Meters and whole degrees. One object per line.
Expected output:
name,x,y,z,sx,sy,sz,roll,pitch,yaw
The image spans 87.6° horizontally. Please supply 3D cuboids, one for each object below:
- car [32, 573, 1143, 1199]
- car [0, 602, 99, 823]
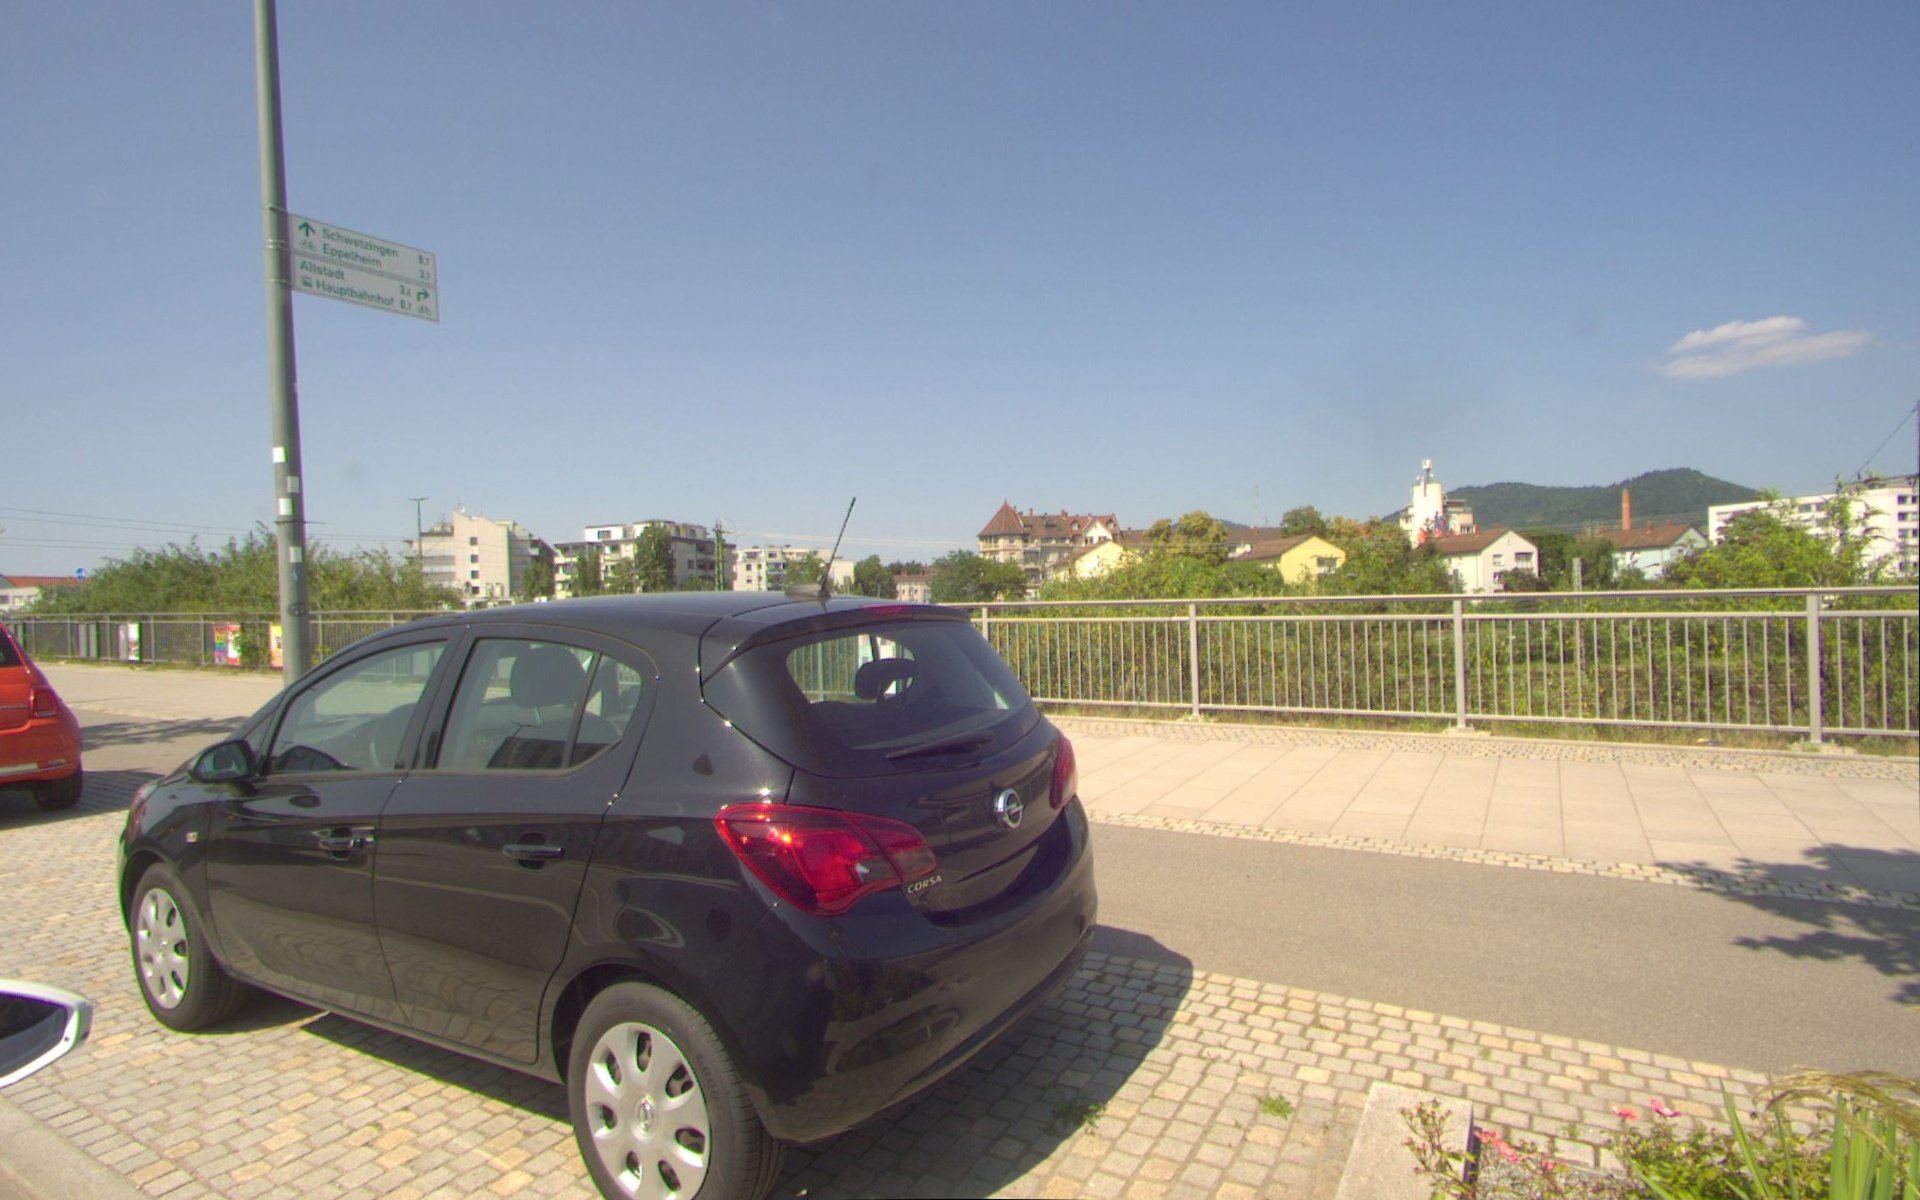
car,-1.520,0.703,3.596,3.943,1.446,1.656,-1,1,32
car,-8.157,0.808,7.582,3.305,1.517,1.605,-1,2,34
